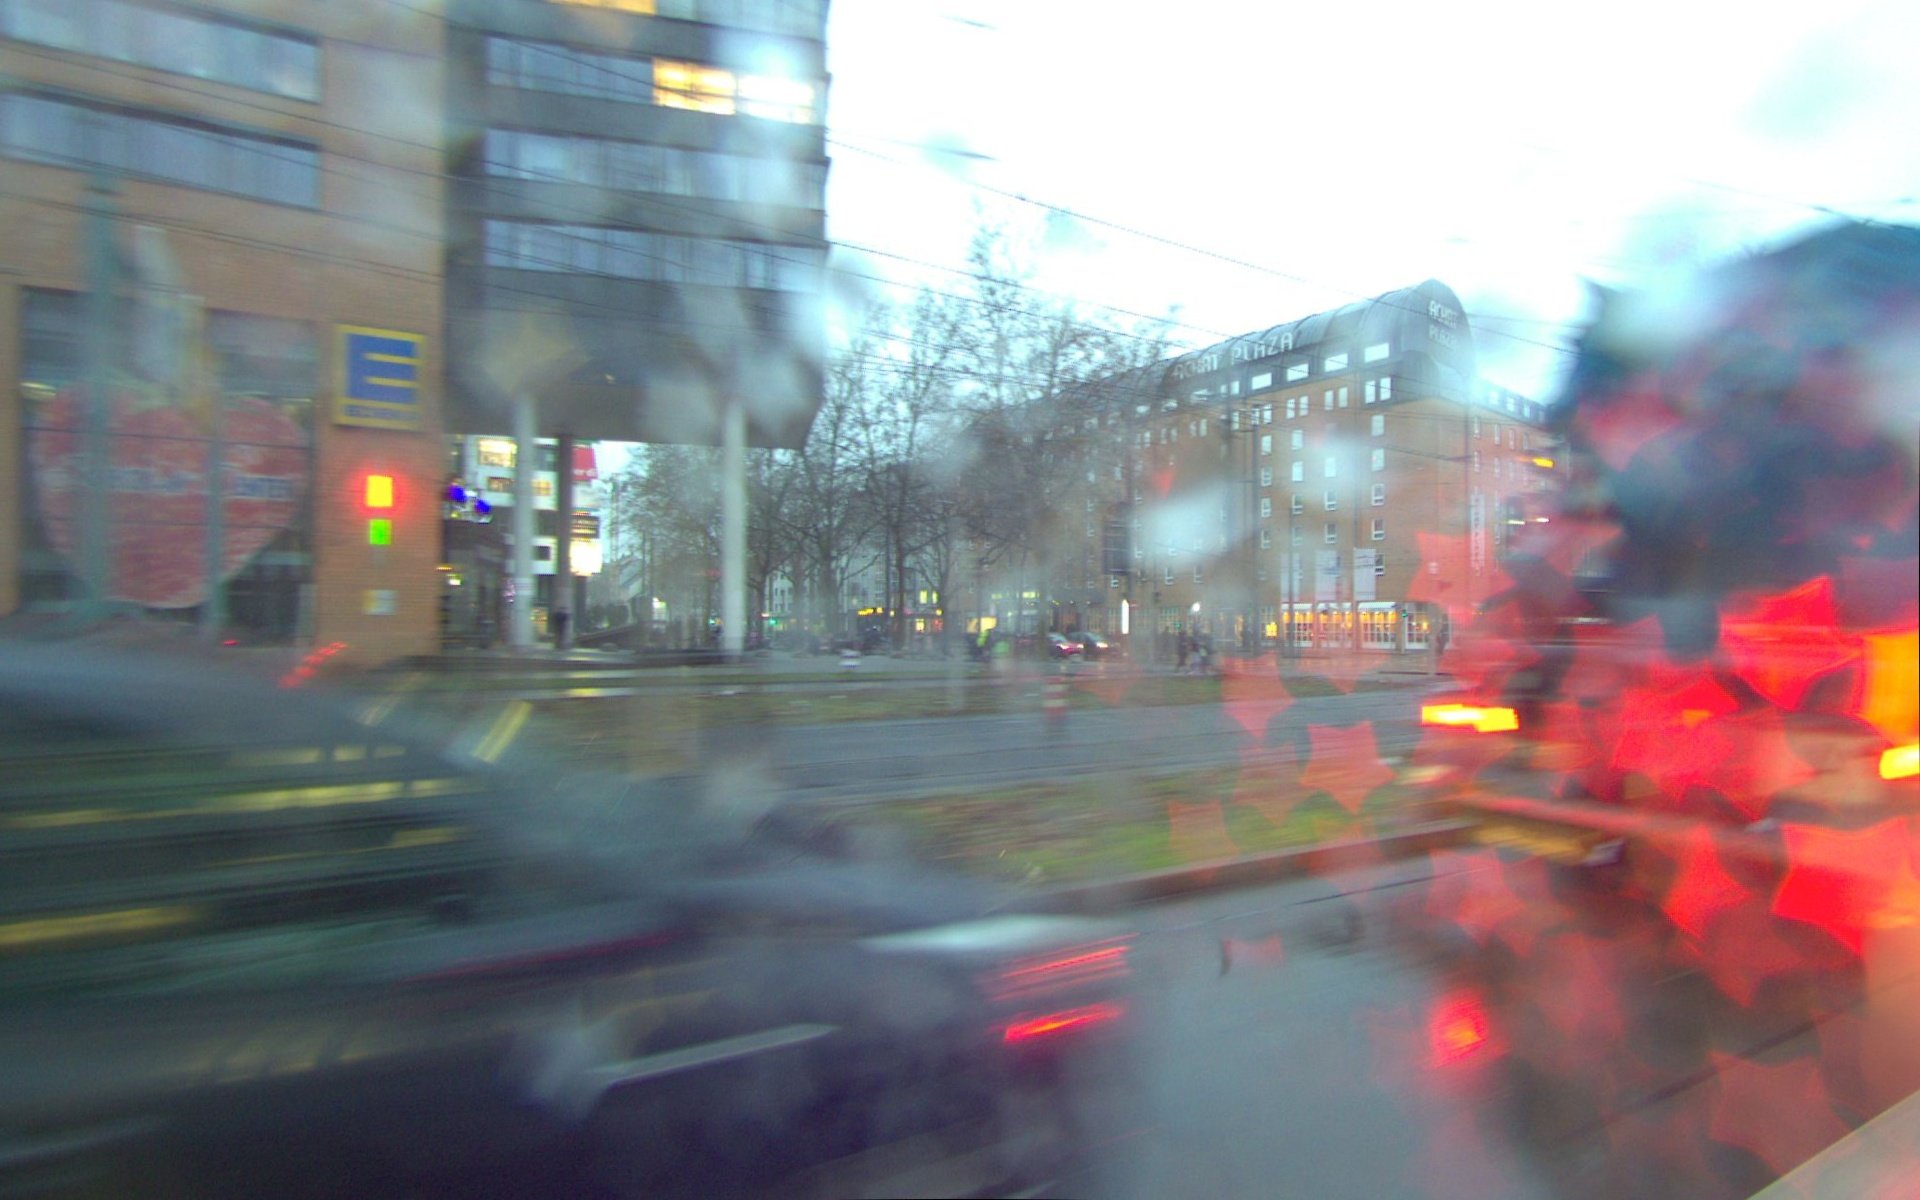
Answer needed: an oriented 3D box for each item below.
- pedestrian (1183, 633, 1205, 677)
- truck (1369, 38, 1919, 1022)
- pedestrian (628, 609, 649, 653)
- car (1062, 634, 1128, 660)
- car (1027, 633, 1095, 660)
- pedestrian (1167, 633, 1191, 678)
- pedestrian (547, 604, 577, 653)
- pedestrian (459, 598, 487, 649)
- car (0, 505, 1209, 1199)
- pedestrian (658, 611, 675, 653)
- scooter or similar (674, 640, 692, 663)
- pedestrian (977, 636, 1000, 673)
[{"bbox_3d":[8.276,1.934,35.572,0.609,1.532,0.515,1,-1,-39],"label":"pedestrian"},{"bbox_3d":[6.197,-0.183,6.589,7.446,3.681,2.823,1,-1,-33],"label":"truck"},{"bbox_3d":[-13.143,1.261,41.080,0.697,1.775,0.566,1,-1,-34],"label":"pedestrian"},{"bbox_3d":[7.998,2.743,59.794,1.975,1.446,3.971,1,-2,-28],"label":"car"},{"bbox_3d":[5.686,2.631,57.068,1.975,1.446,3.971,1,-2,-28],"label":"car"},{"bbox_3d":[7.679,1.942,35.225,0.640,1.532,0.556,1,-1,-39],"label":"pedestrian"},{"bbox_3d":[-14.752,1.053,37.242,0.690,1.775,0.794,0,-1,16],"label":"pedestrian"},{"bbox_3d":[-16.950,0.822,34.984,0.526,1.775,0.664,0,-1,29],"label":"pedestrian"},{"bbox_3d":[-1.486,0.677,1.951,3.899,1.543,1.621,1,-2,-33],"label":"car"},{"bbox_3d":[-12.466,1.355,42.658,0.629,1.797,0.569,1,-2,-26],"label":"pedestrian"},{"bbox_3d":[-11.857,2.202,42.948,0.657,0.973,0.550,1,-2,-26],"label":"scooter or similar"},{"bbox_3d":[1.202,2.279,42.056,0.733,1.519,0.668,1,-2,-44],"label":"pedestrian"}]
